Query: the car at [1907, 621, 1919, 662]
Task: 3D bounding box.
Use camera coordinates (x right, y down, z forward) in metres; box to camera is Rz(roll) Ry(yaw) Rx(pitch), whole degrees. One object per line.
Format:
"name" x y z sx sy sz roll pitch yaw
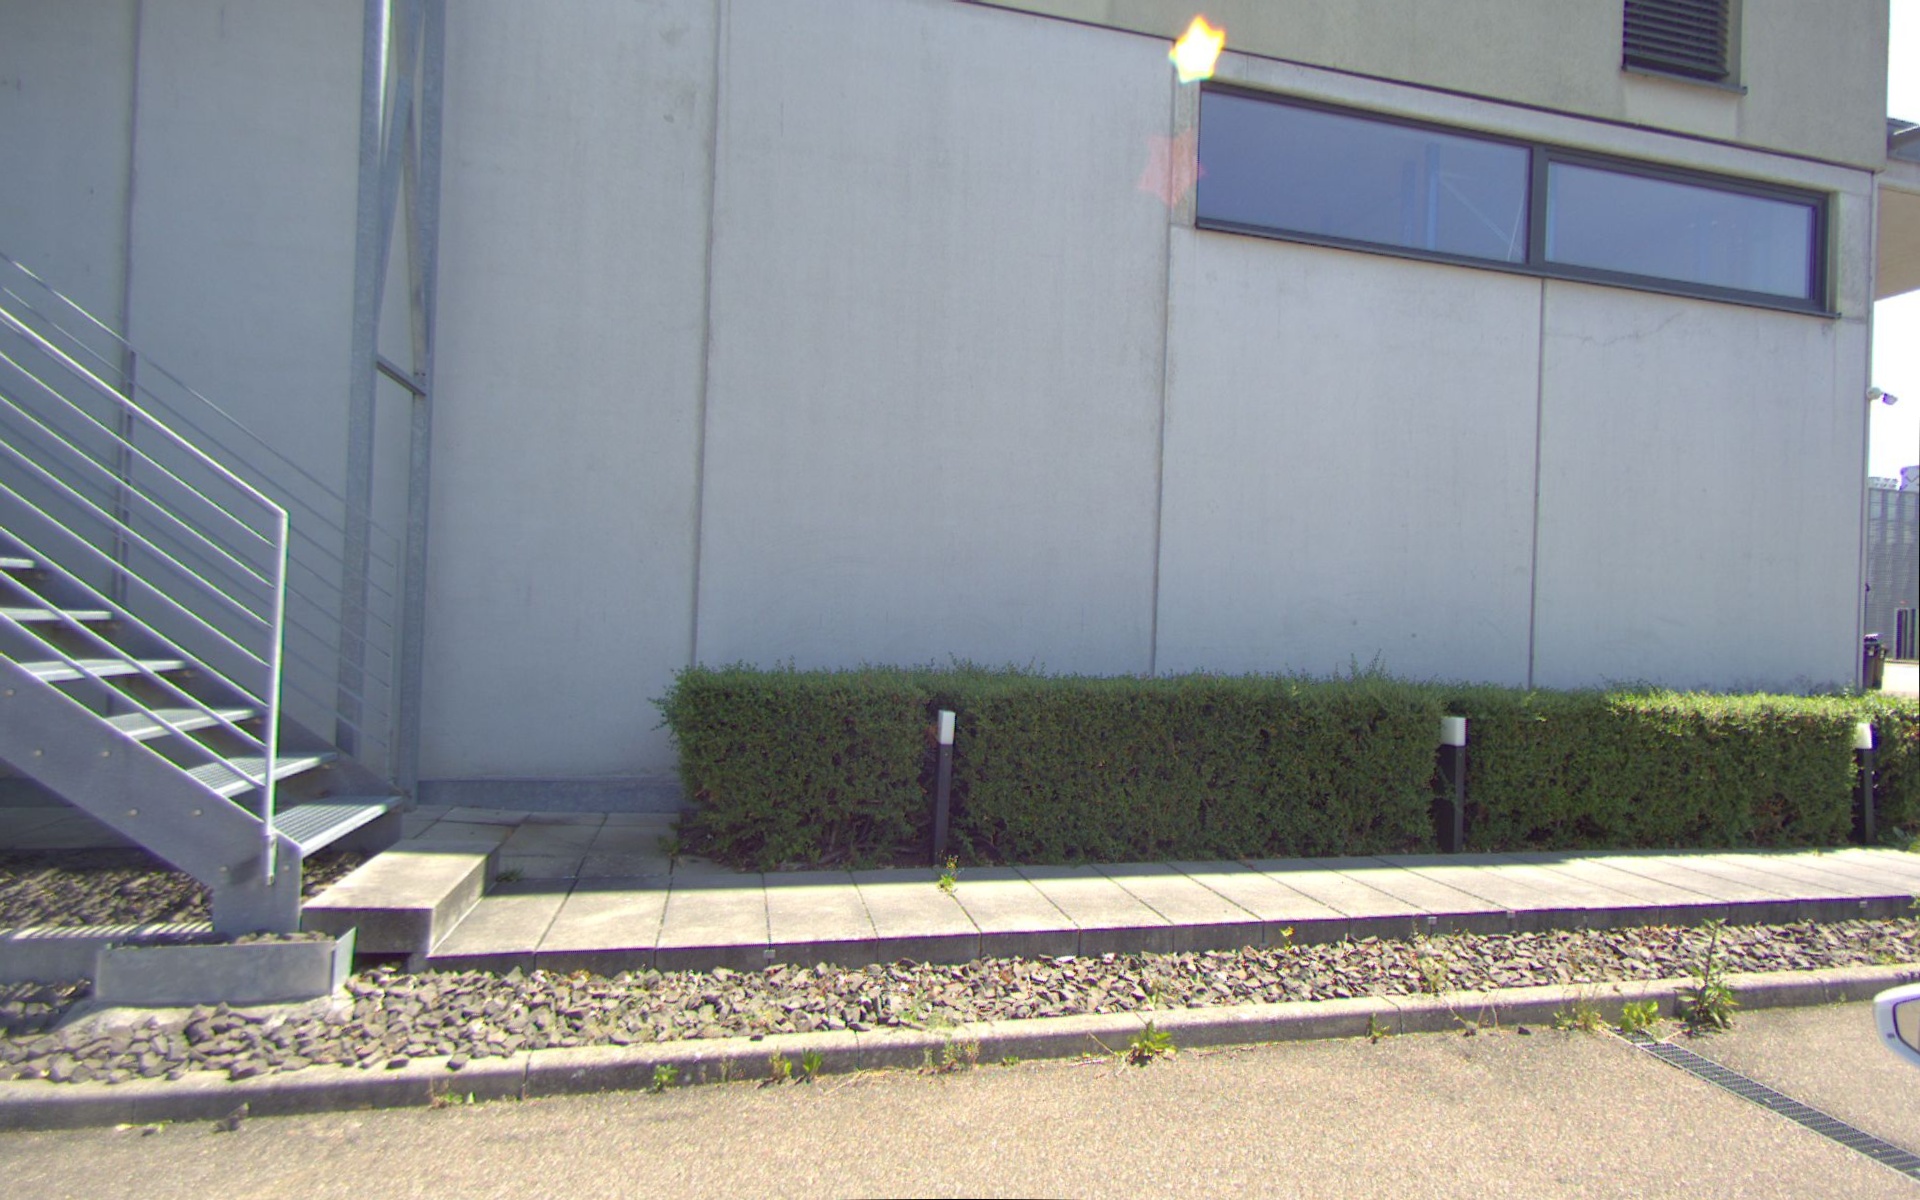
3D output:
"car" 36.920 1.602 35.848 1.960 1.511 4.515 1 0 1

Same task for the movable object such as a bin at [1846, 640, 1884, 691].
"movable object such as a bin" 19.289 1.382 21.413 0.570 1.050 0.423 2 0 44

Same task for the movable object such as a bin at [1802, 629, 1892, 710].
"movable object such as a bin" 15.861 1.232 17.978 0.868 1.362 0.812 2 0 -8
